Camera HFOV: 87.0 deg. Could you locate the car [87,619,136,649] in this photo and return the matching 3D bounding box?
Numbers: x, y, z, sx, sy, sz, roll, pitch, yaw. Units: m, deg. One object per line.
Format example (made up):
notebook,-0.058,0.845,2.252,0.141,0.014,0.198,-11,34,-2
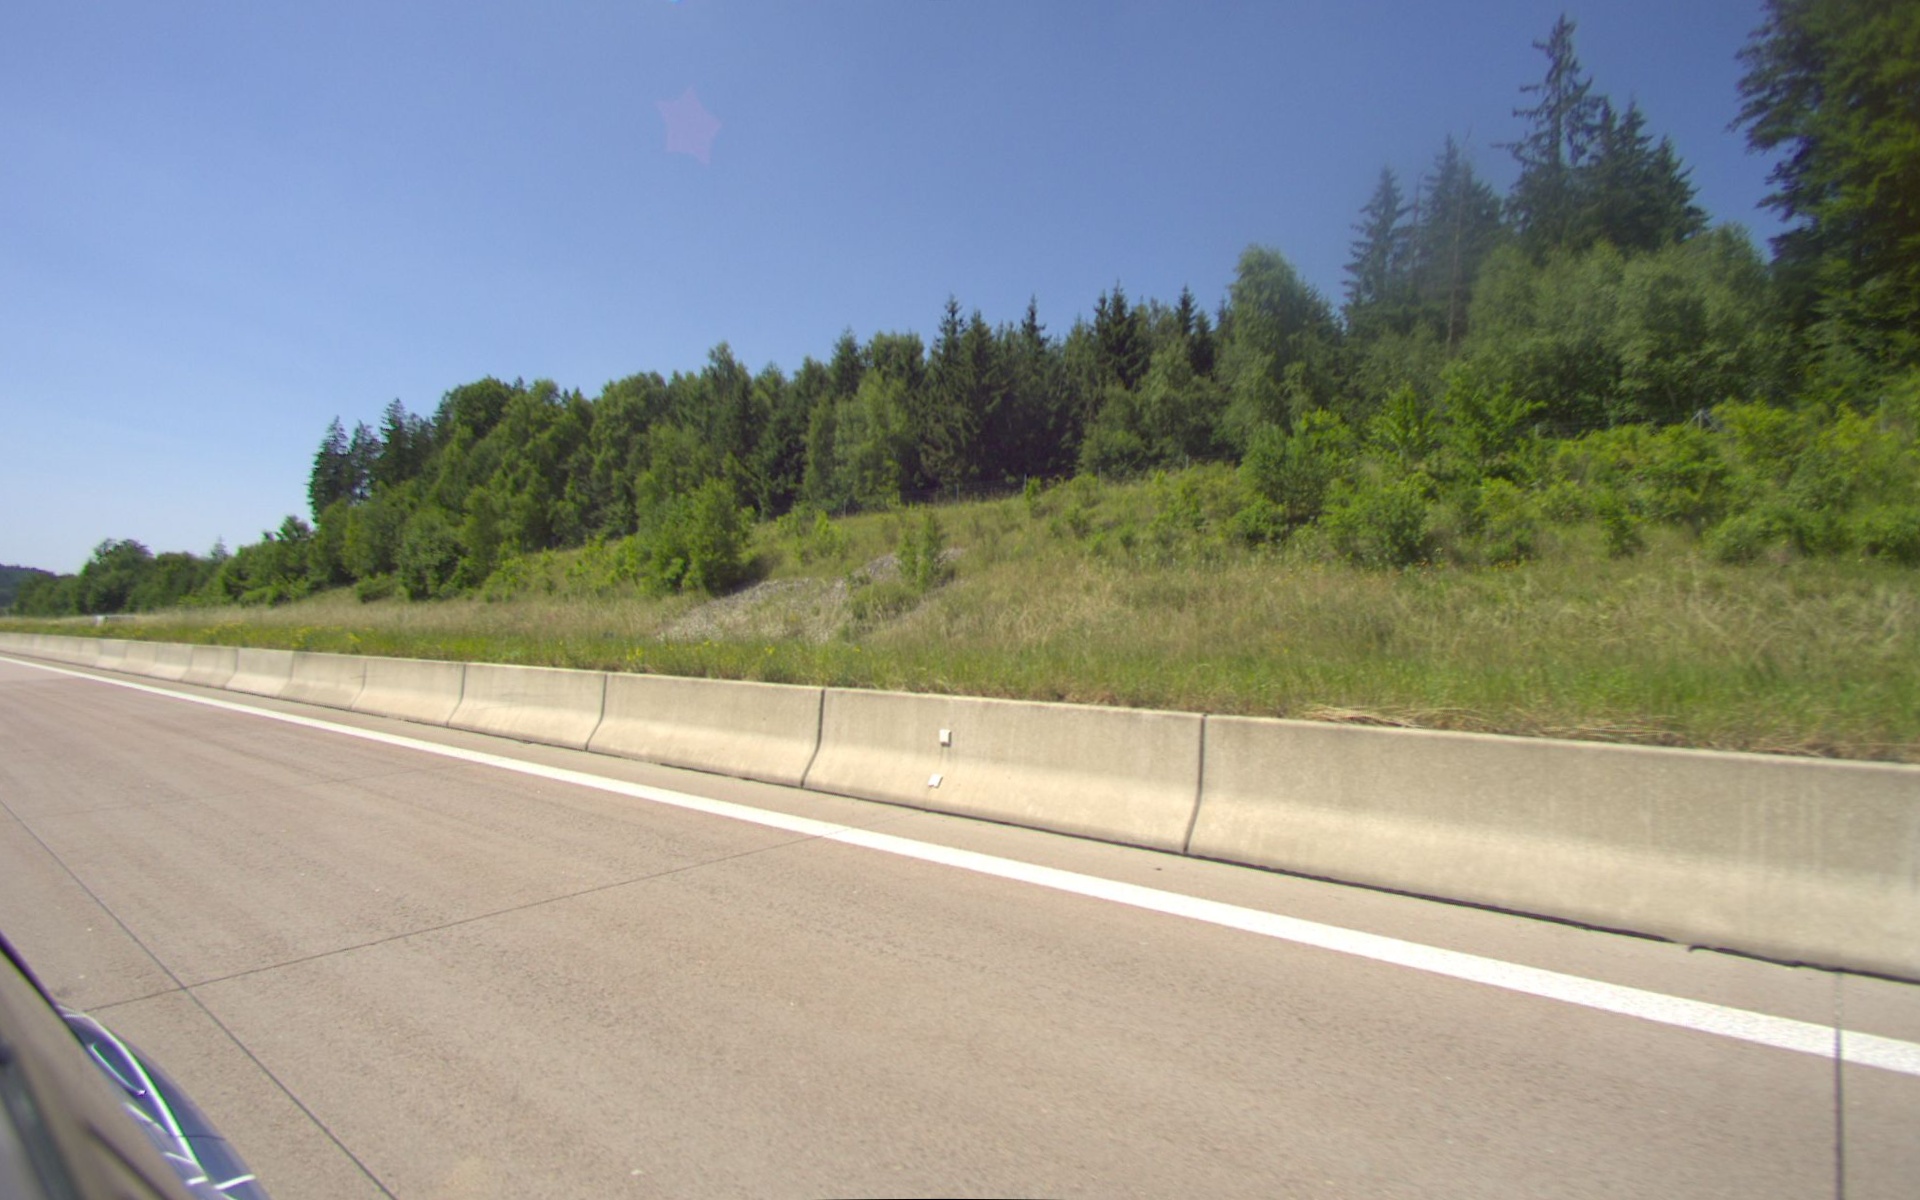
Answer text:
car,-61.045,2.461,72.780,4.658,2.080,1.872,-2,-1,39
